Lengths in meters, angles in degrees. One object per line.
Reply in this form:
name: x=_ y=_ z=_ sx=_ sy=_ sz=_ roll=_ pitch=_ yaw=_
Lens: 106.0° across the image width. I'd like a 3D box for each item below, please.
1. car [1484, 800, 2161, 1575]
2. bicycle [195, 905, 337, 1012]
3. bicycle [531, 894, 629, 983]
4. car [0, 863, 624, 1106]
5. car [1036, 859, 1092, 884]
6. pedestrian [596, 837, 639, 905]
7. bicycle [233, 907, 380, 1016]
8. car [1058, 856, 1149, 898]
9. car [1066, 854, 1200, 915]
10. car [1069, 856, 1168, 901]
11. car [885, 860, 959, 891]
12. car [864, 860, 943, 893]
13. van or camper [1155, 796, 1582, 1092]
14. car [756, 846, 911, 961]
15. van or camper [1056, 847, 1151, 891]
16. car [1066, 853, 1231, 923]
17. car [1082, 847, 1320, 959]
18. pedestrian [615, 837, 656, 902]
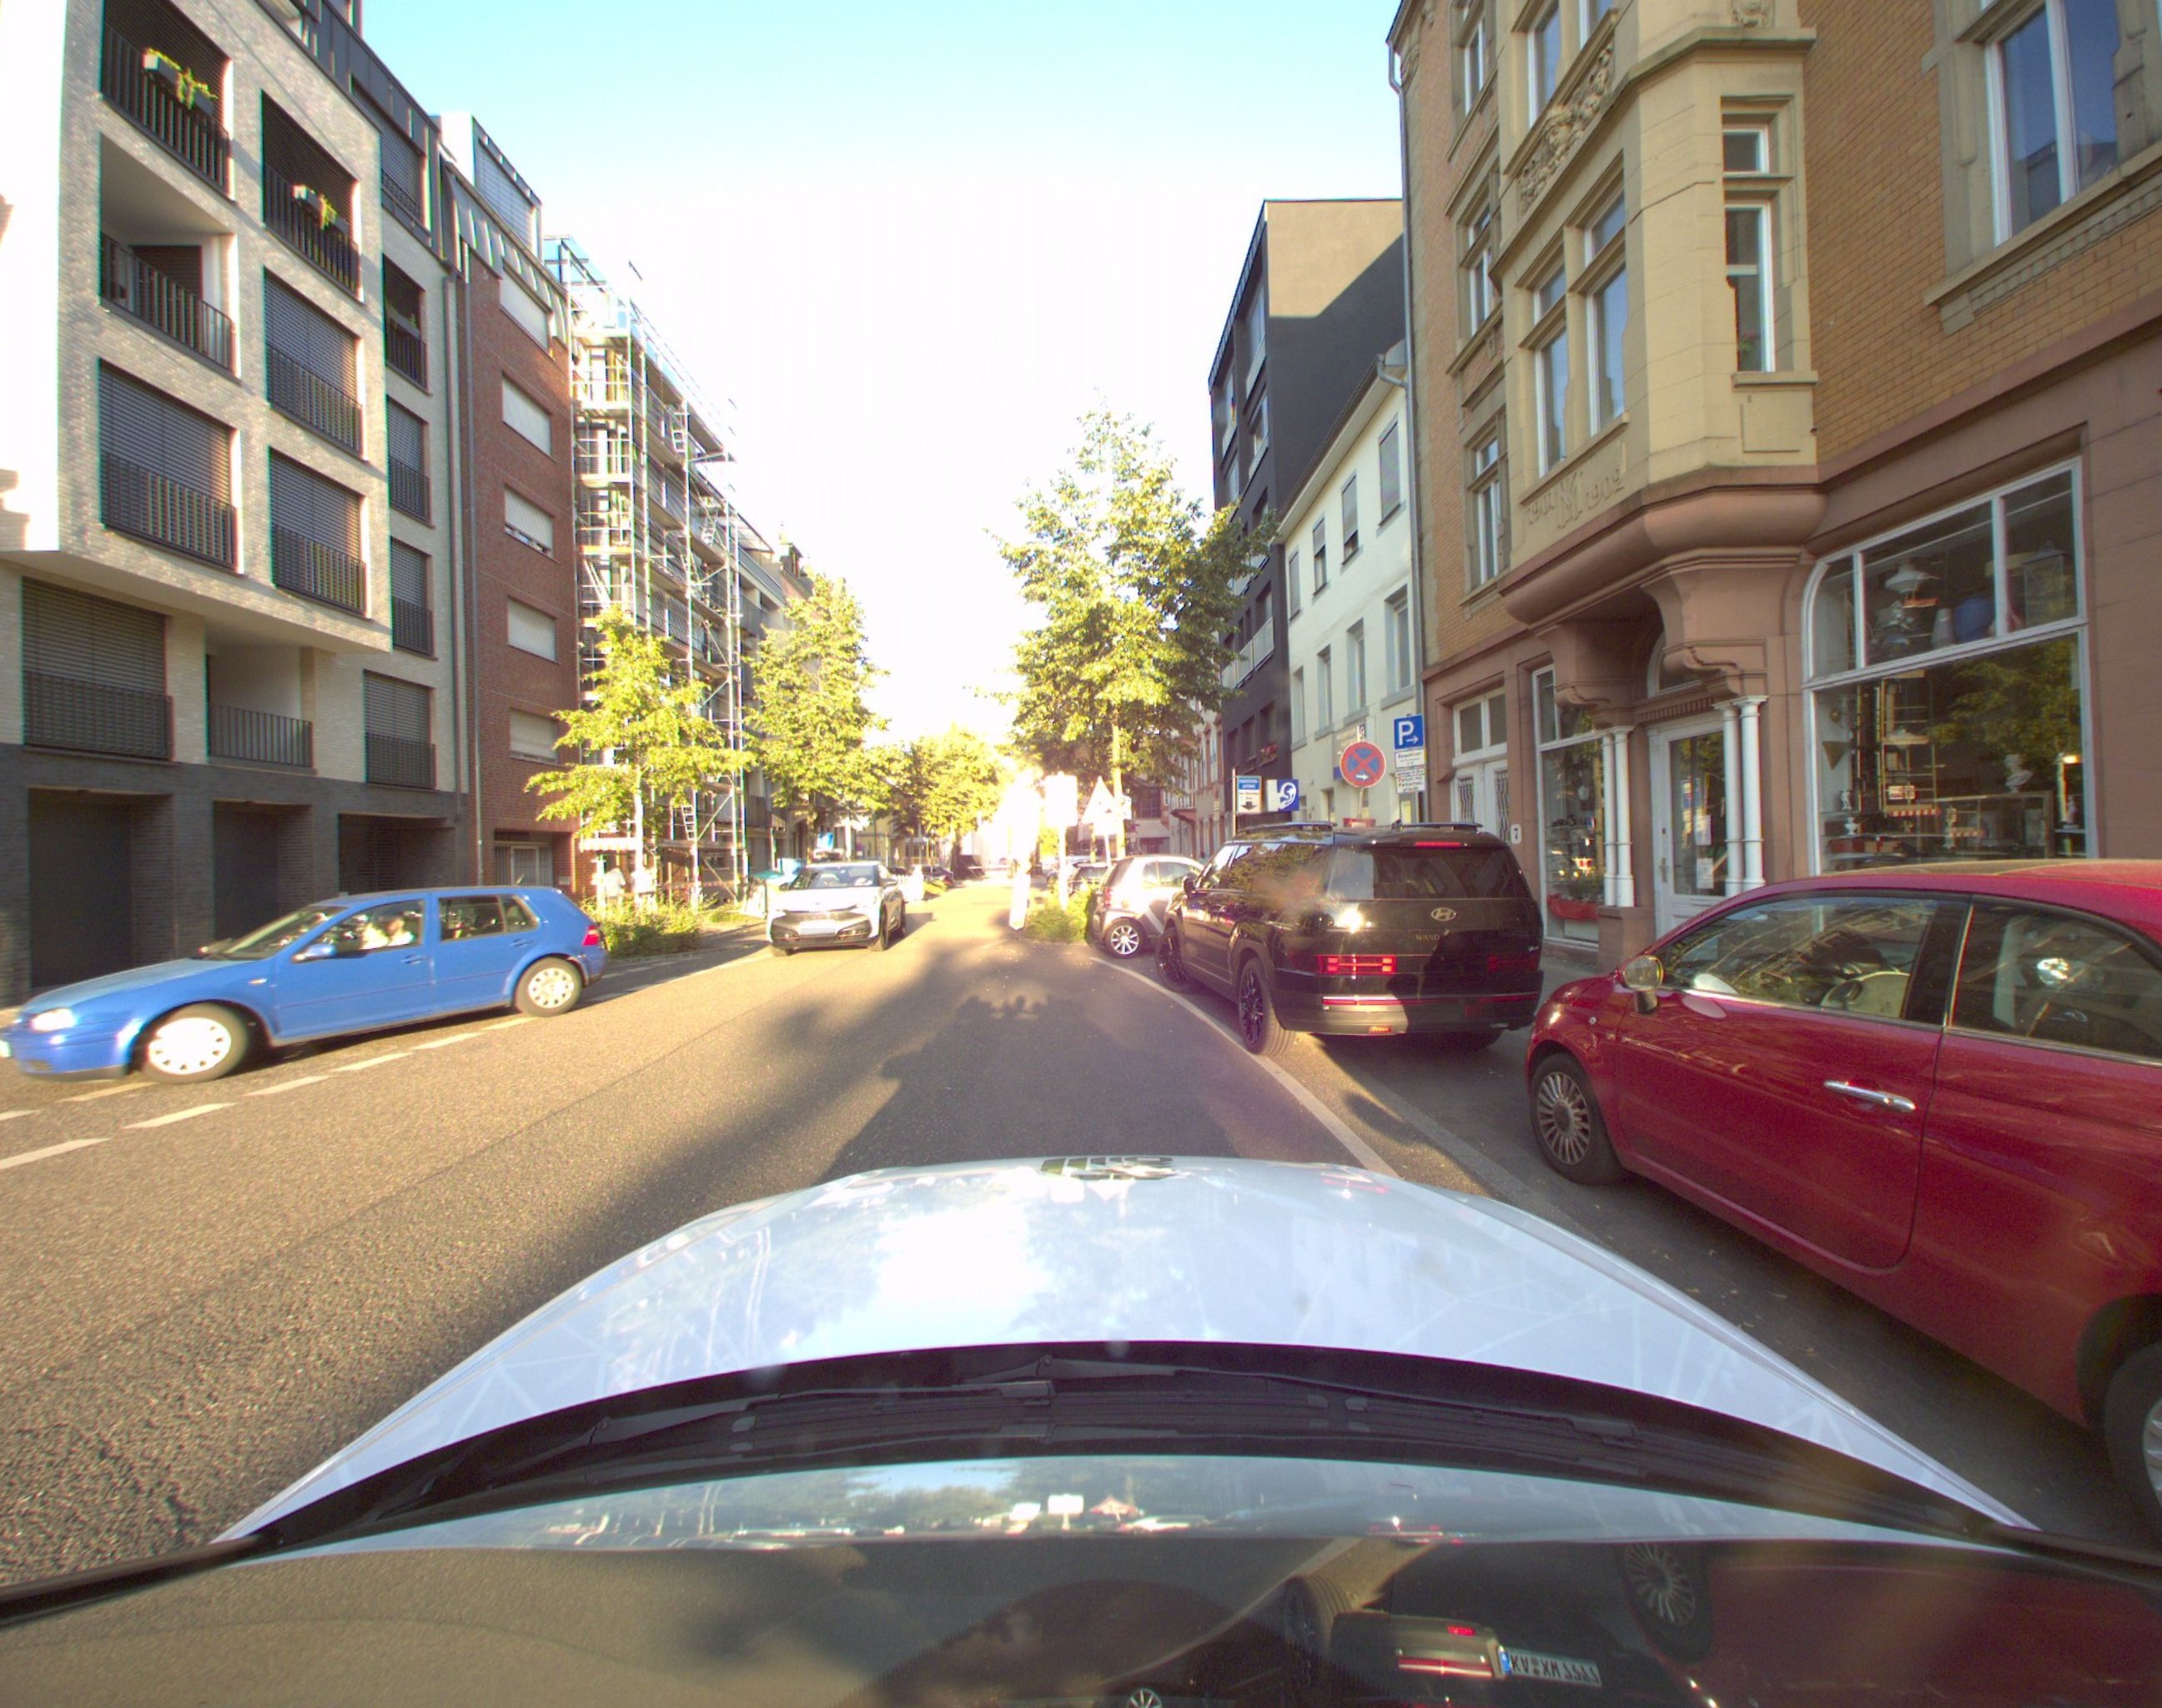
car: x=2.955 y=0.672 z=2.750 sx=1.520 sy=1.570 sz=3.422 roll=-1 pitch=0 yaw=1
bicycle: x=-10.372 y=1.290 z=10.422 sx=0.386 sy=1.183 sz=1.405 roll=-2 pitch=0 yaw=0
bicycle: x=-7.534 y=1.233 z=12.319 sx=0.506 sy=1.179 sz=1.551 roll=-2 pitch=0 yaw=0
car: x=-6.975 y=0.964 z=7.862 sx=1.672 sy=1.563 sz=4.144 roll=-3 pitch=-1 yaw=29
car: x=-1.047 y=1.093 z=51.888 sx=1.834 sy=1.568 sz=3.720 roll=-1 pitch=-1 yaw=32
pedestrian: x=-12.531 y=0.449 z=22.046 sx=0.739 sy=1.783 sz=0.656 roll=-2 pitch=-1 yaw=-1
bicycle: x=-9.831 y=1.322 z=10.413 sx=0.385 sy=1.189 sz=1.551 roll=-2 pitch=0 yaw=0
car: x=0.889 y=0.937 z=33.903 sx=3.677 sy=1.670 sz=1.856 roll=0 pitch=-1 yaw=-4
car: x=1.431 y=0.839 z=23.497 sx=3.677 sy=1.670 sz=1.856 roll=0 pitch=-1 yaw=-4
car: x=1.390 y=0.909 z=31.510 sx=3.677 sy=1.670 sz=1.856 roll=0 pitch=-1 yaw=-4
car: x=-9.501 y=1.272 z=48.799 sx=3.973 sy=1.684 sz=1.891 roll=-1 pitch=0 yaw=1
car: x=-9.996 y=1.250 z=46.109 sx=3.973 sy=1.684 sz=1.891 roll=-1 pitch=0 yaw=1
van or camper: x=2.053 y=0.562 z=7.372 sx=1.887 sy=1.807 sz=4.451 roll=-1 pitch=0 yaw=-6
car: x=-4.379 y=0.804 z=15.122 sx=1.871 sy=1.697 sz=4.311 roll=-4 pitch=0 yaw=-6
van or camper: x=1.020 y=0.708 z=39.003 sx=4.430 sy=2.005 sz=1.856 roll=0 pitch=-1 yaw=-4
car: x=1.631 y=0.832 z=20.731 sx=3.986 sy=1.670 sz=1.856 roll=0 pitch=-1 yaw=-4
car: x=1.864 y=0.726 z=13.100 sx=3.470 sy=1.575 sz=1.502 roll=-2 pitch=0 yaw=-10
pedestrian: x=-12.549 y=0.434 z=22.972 sx=0.739 sy=1.783 sz=0.656 roll=-2 pitch=-1 yaw=-3
